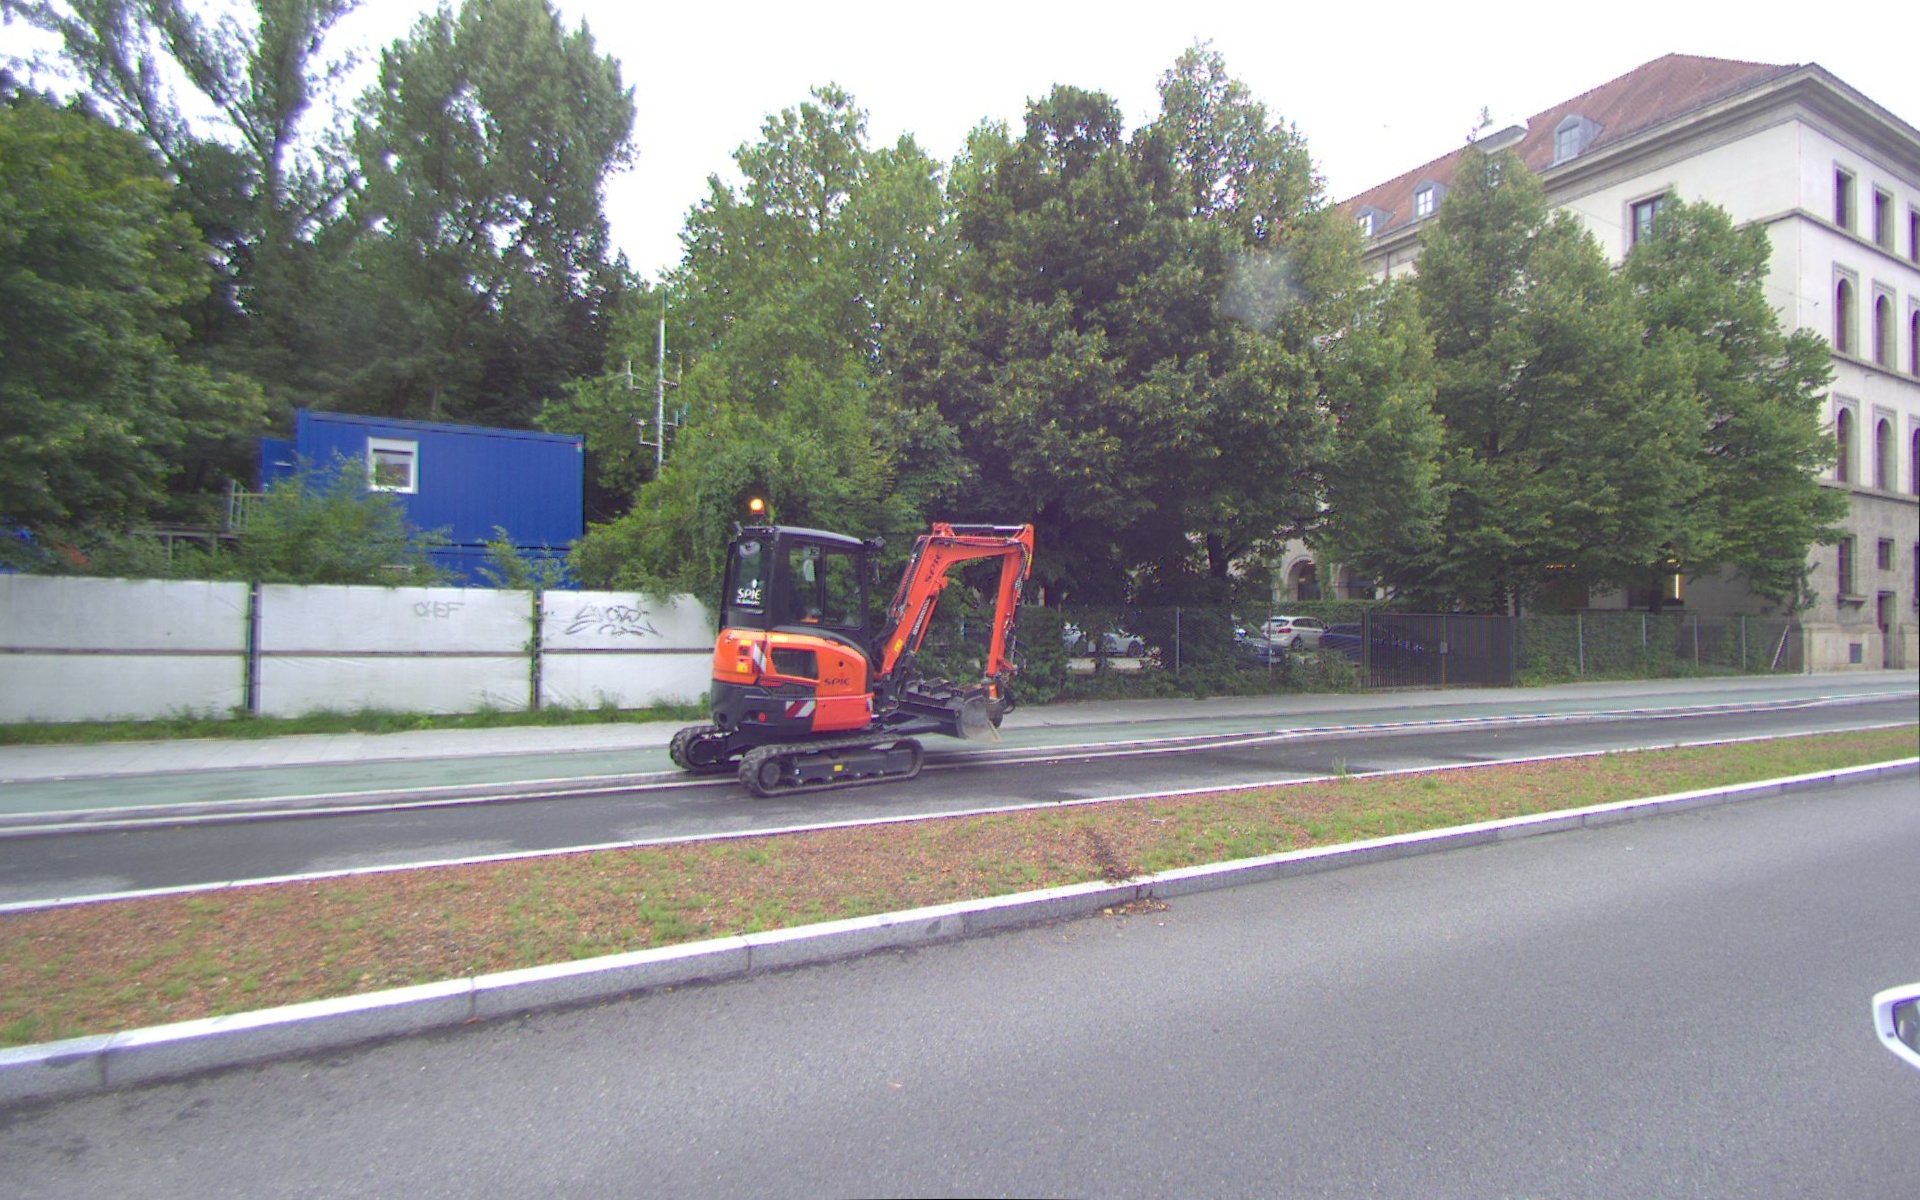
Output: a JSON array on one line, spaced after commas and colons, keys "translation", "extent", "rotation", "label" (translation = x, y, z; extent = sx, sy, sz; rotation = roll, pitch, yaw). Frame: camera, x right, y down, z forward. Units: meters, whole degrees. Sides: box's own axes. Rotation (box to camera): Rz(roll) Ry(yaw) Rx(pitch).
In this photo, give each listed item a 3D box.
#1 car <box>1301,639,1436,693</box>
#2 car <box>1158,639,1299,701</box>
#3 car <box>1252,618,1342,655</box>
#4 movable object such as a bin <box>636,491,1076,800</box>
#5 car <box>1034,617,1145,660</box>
[{"translation": [13.579, 2.152, 33.611], "extent": [1.815, 1.566, 3.908], "rotation": [1, 0, -31], "label": "car"}, {"translation": [7.910, 2.020, 29.918], "extent": [1.815, 1.566, 3.908], "rotation": [1, 0, -31], "label": "car"}, {"translation": [15.247, 1.618, 45.418], "extent": [3.895, 1.566, 1.821], "rotation": [1, 0, -31], "label": "car"}, {"translation": [-0.934, 0.454, 11.064], "extent": [1.973, 2.676, 4.636], "rotation": [-1, -2, 45], "label": "movable object such as a bin"}, {"translation": [5.141, 1.488, 39.704], "extent": [4.130, 1.566, 1.821], "rotation": [1, 0, -31], "label": "car"}]
